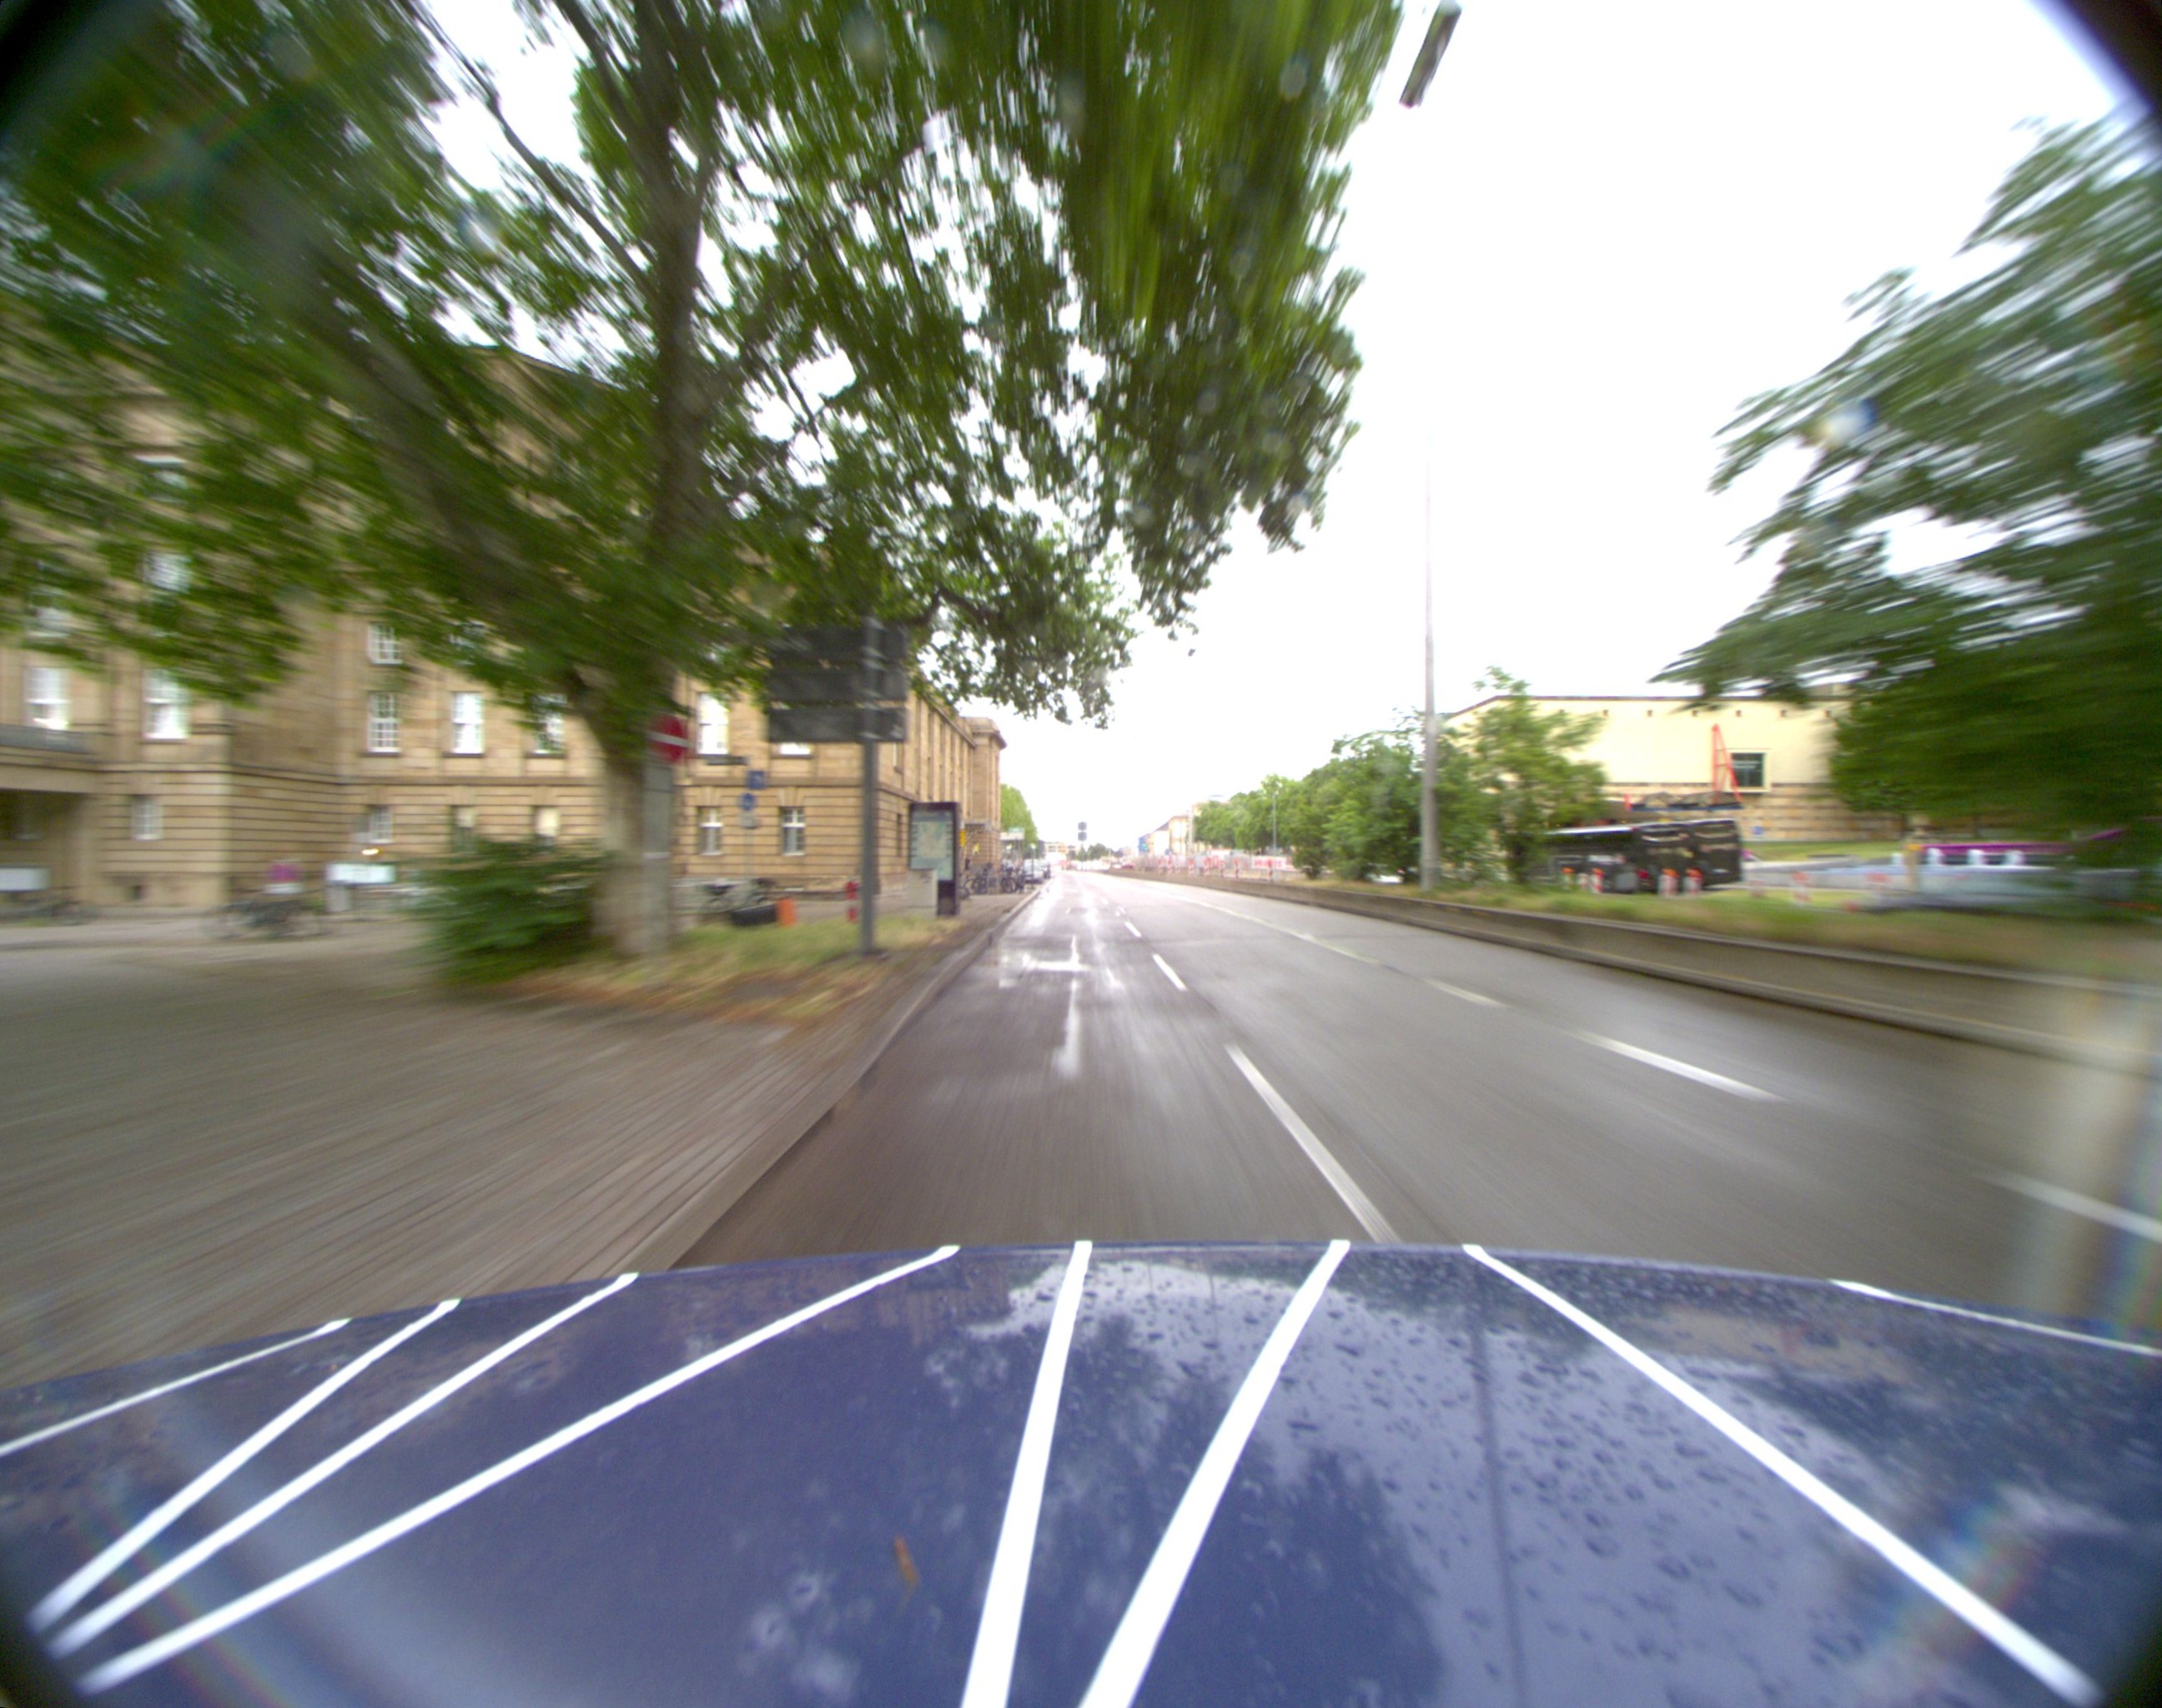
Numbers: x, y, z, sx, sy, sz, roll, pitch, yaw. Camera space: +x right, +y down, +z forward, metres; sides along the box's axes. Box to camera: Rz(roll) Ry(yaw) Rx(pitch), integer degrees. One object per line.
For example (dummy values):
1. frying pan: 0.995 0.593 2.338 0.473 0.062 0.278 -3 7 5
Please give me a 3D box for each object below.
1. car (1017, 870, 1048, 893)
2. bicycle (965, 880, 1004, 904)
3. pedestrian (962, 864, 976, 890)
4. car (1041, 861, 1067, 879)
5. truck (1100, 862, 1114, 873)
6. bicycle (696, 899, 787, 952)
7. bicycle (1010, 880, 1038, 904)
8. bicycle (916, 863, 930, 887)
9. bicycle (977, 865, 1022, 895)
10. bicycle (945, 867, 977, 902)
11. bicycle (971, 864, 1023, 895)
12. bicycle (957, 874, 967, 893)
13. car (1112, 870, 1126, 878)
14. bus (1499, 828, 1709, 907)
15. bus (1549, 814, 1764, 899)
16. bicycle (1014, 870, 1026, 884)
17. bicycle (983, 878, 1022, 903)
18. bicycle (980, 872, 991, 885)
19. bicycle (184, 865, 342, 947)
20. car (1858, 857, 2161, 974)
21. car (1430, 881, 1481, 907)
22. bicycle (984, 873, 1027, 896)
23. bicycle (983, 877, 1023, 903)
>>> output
1. car: -3.403 1.912 53.686 1.936 1.469 3.703 0 0 0
2. bicycle: -4.139 1.646 32.733 1.593 0.988 0.525 -1 0 2
3. pedestrian: -7.911 1.602 53.669 0.797 1.767 0.642 3 0 0
4. car: -2.415 1.410 67.667 1.762 1.406 3.153 3 1 7
5. truck: 6.396 3.291 187.675 2.405 2.702 7.352 0 -1 -6
6. bicycle: -7.184 1.509 16.103 1.644 1.014 0.575 -2 0 5
7. bicycle: -2.438 1.612 32.640 0.670 0.962 1.639 -1 0 15
8. bicycle: -8.352 1.106 40.218 0.455 1.243 1.600 -2 -1 -2
9. bicycle: -3.667 1.157 34.302 1.910 1.324 0.650 -1 0 2
10. bicycle: -4.329 1.082 27.498 0.606 1.190 1.906 2 0 7
11. bicycle: -3.720 1.108 33.572 2.196 1.328 0.650 0 0 2
12. bicycle: -7.944 1.943 50.768 0.465 1.208 1.691 0 0 -2
13. car: 7.491 3.944 149.594 2.000 1.521 3.998 0 -1 -8
14. bus: 29.420 0.767 44.229 2.810 3.788 14.602 -2 -1 3
15. bus: 33.326 0.228 45.276 3.126 4.226 13.499 -2 -1 3
16. bicycle: -5.281 1.999 66.151 0.778 1.211 1.963 2 0 -11
17. bicycle: -3.582 1.657 34.765 1.683 1.084 0.650 -1 0 2
18. bicycle: -7.541 1.933 60.207 0.585 1.032 1.759 0 0 3
19. bicycle: -17.413 1.084 16.228 2.322 1.657 0.774 -1 1 -6
20. car: 15.666 0.867 12.317 1.999 1.586 4.000 0 -1 -2
21. car: 24.273 2.563 49.404 1.596 1.491 3.214 1 -1 -3
22. bicycle: -3.612 1.454 36.457 1.990 1.054 0.759 -1 0 -3
23. bicycle: -3.434 1.594 33.470 1.683 1.116 0.601 -1 -1 2
